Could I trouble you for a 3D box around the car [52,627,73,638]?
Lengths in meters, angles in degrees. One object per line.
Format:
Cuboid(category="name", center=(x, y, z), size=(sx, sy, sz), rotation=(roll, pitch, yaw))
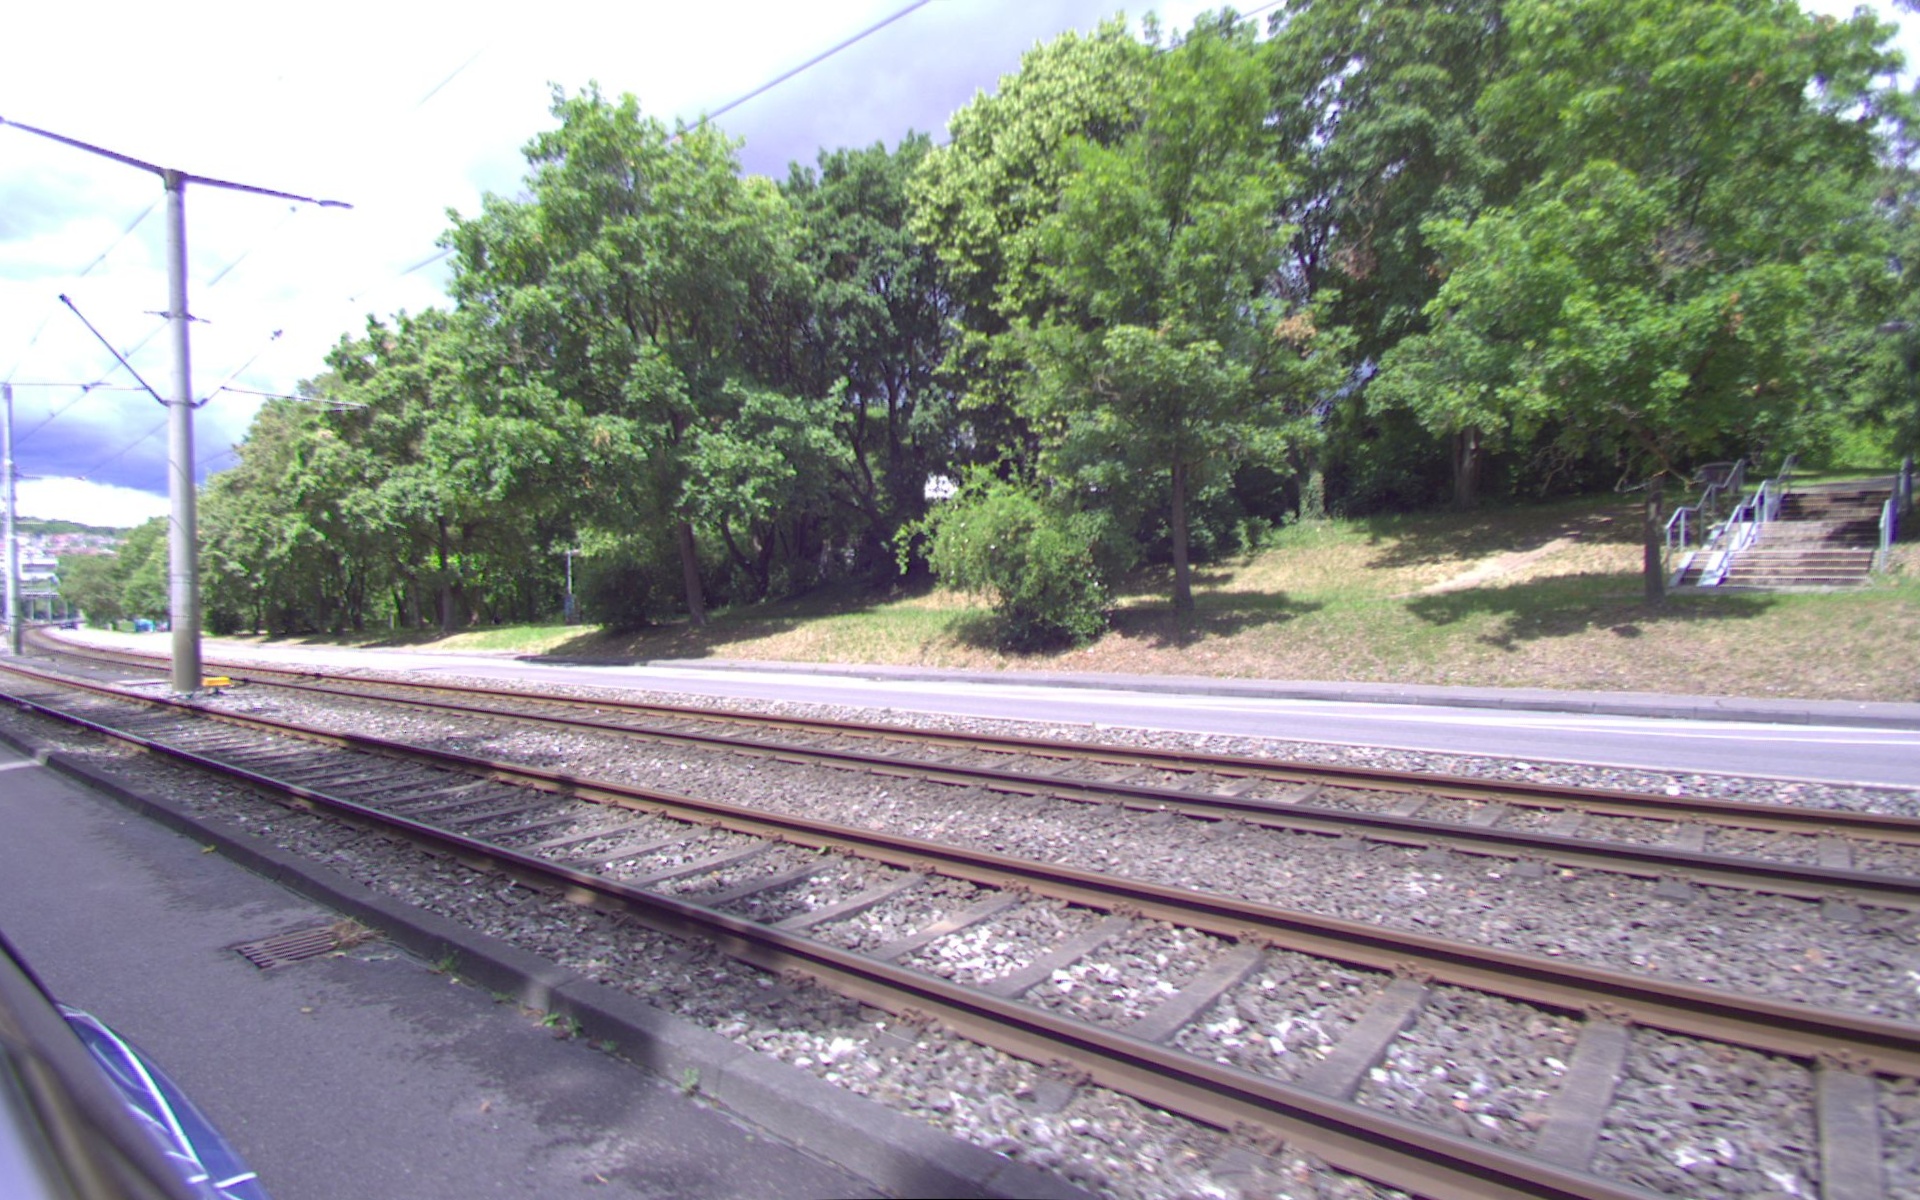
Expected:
Cuboid(category="car", center=(-121.912, 4.417, 137.507), size=(4.864, 1.402, 1.815), rotation=(-2, -3, 45))
